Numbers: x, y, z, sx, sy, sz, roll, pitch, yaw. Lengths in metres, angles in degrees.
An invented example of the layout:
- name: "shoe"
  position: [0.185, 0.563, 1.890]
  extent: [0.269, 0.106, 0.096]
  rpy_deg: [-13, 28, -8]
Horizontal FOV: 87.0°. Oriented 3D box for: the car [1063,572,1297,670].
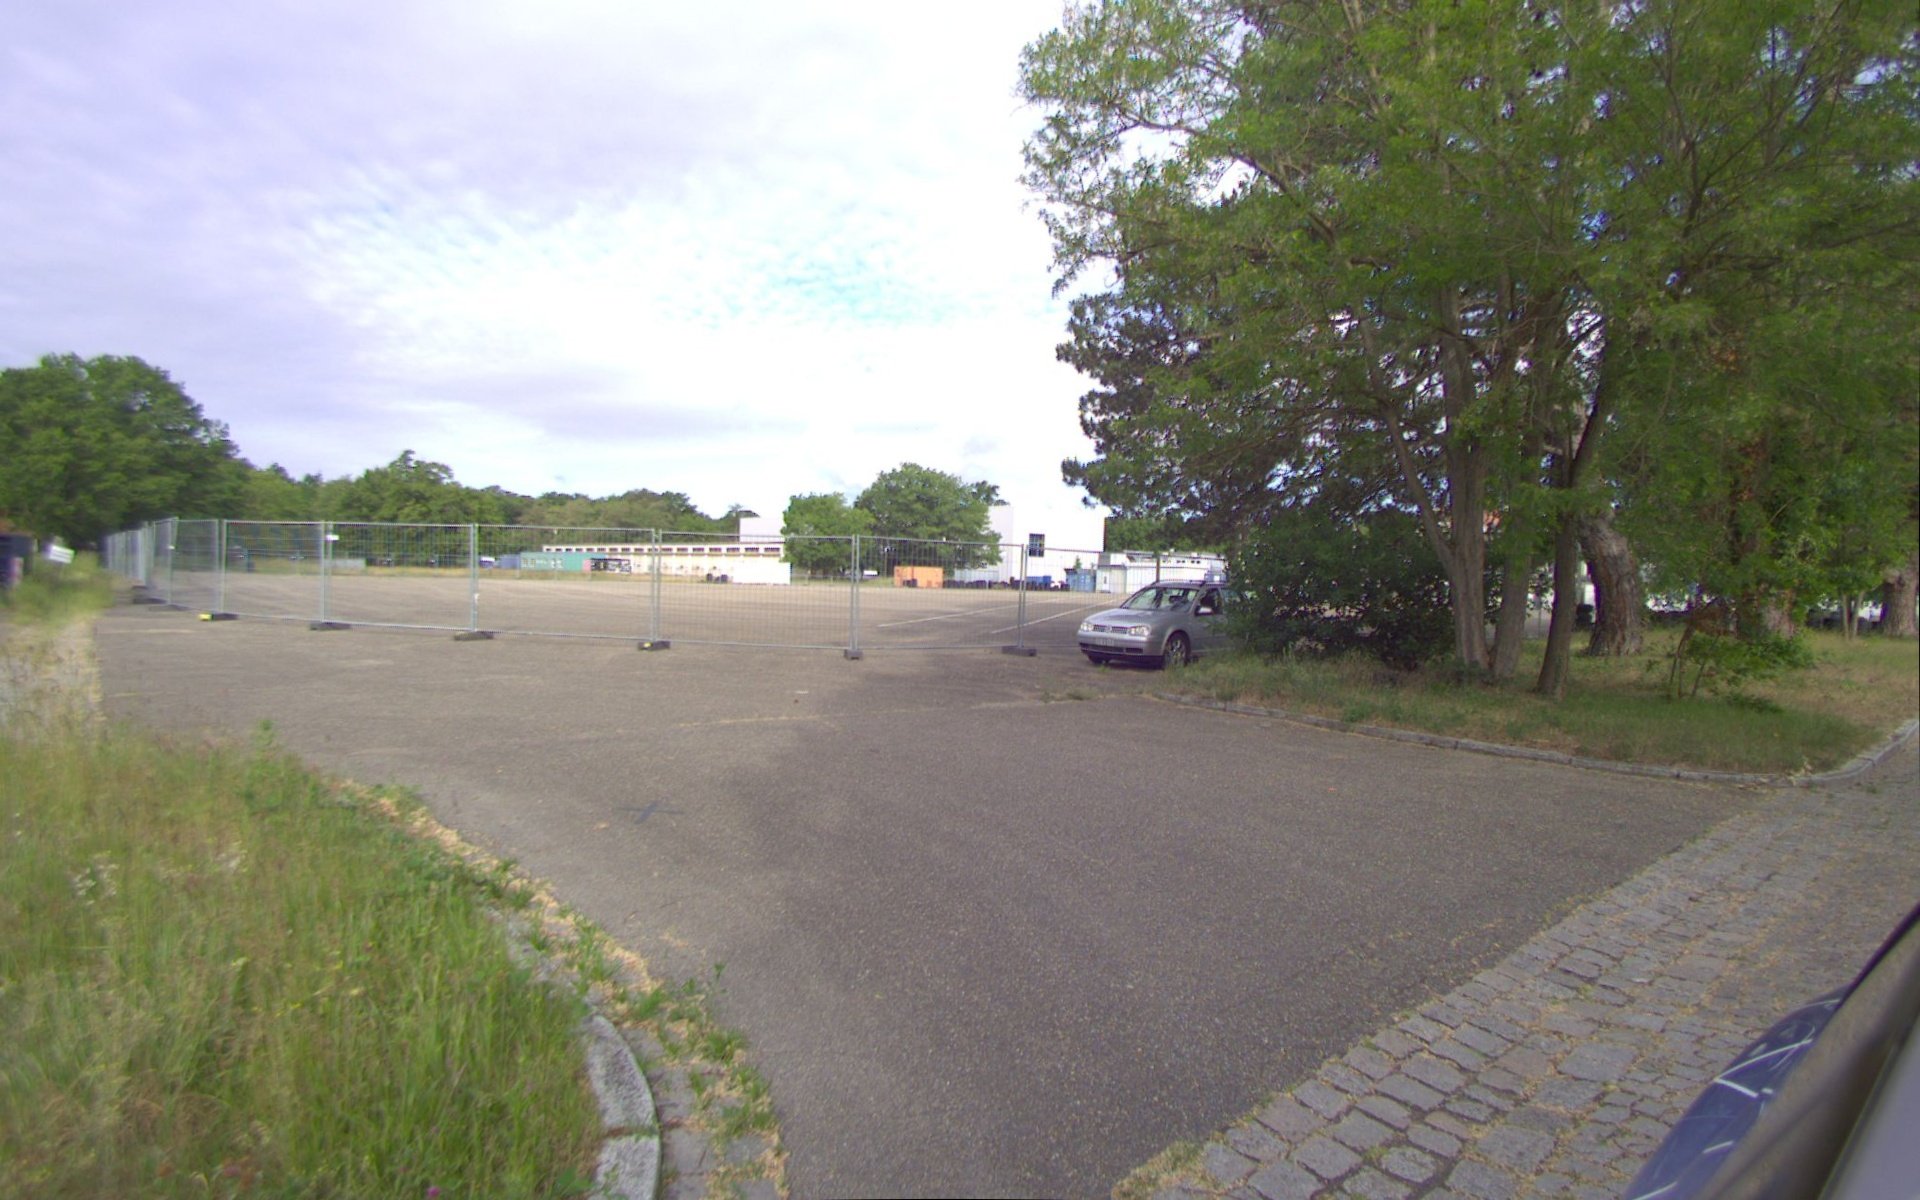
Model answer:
- name: "car"
  position: [3.899, 0.321, 17.555]
  extent: [4.251, 1.466, 1.758]
  rpy_deg: [0, 2, -41]
